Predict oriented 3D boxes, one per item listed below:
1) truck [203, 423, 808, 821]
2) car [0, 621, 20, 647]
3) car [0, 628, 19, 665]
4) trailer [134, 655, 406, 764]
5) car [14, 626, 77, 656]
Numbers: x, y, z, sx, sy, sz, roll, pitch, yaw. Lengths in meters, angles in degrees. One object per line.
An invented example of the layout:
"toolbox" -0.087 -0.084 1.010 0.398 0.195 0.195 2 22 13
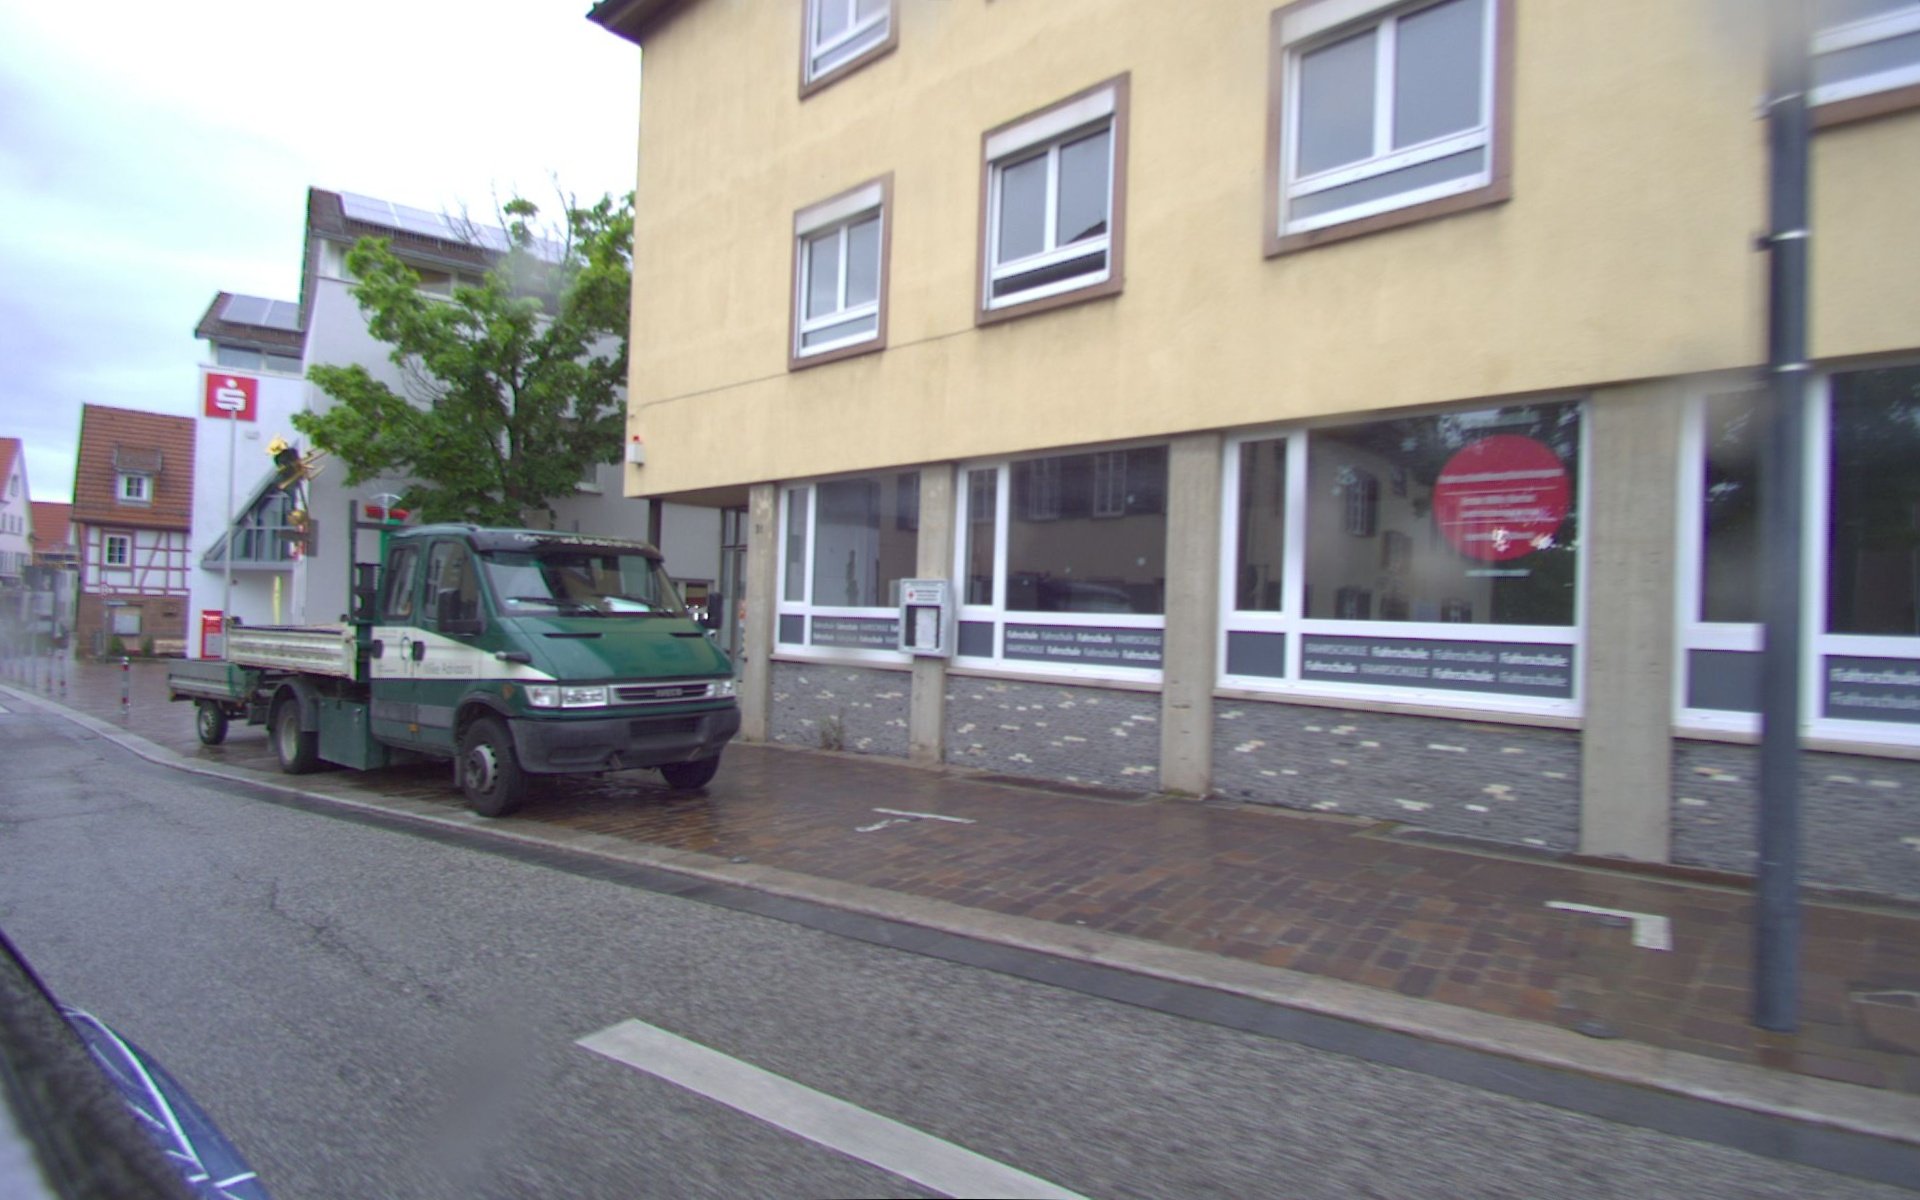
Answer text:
"truck" -4.571 0.322 9.557 6.471 2.615 2.377 -3 -4 37
"car" -57.287 1.989 59.781 1.838 1.472 4.011 4 -3 -33
"car" -40.482 1.931 42.207 1.781 1.453 4.004 2 -2 -43
"trailer" -8.403 1.263 12.303 3.013 1.133 1.835 -3 -4 36
"car" -46.966 2.071 52.025 1.778 1.453 4.011 1 -1 -33
